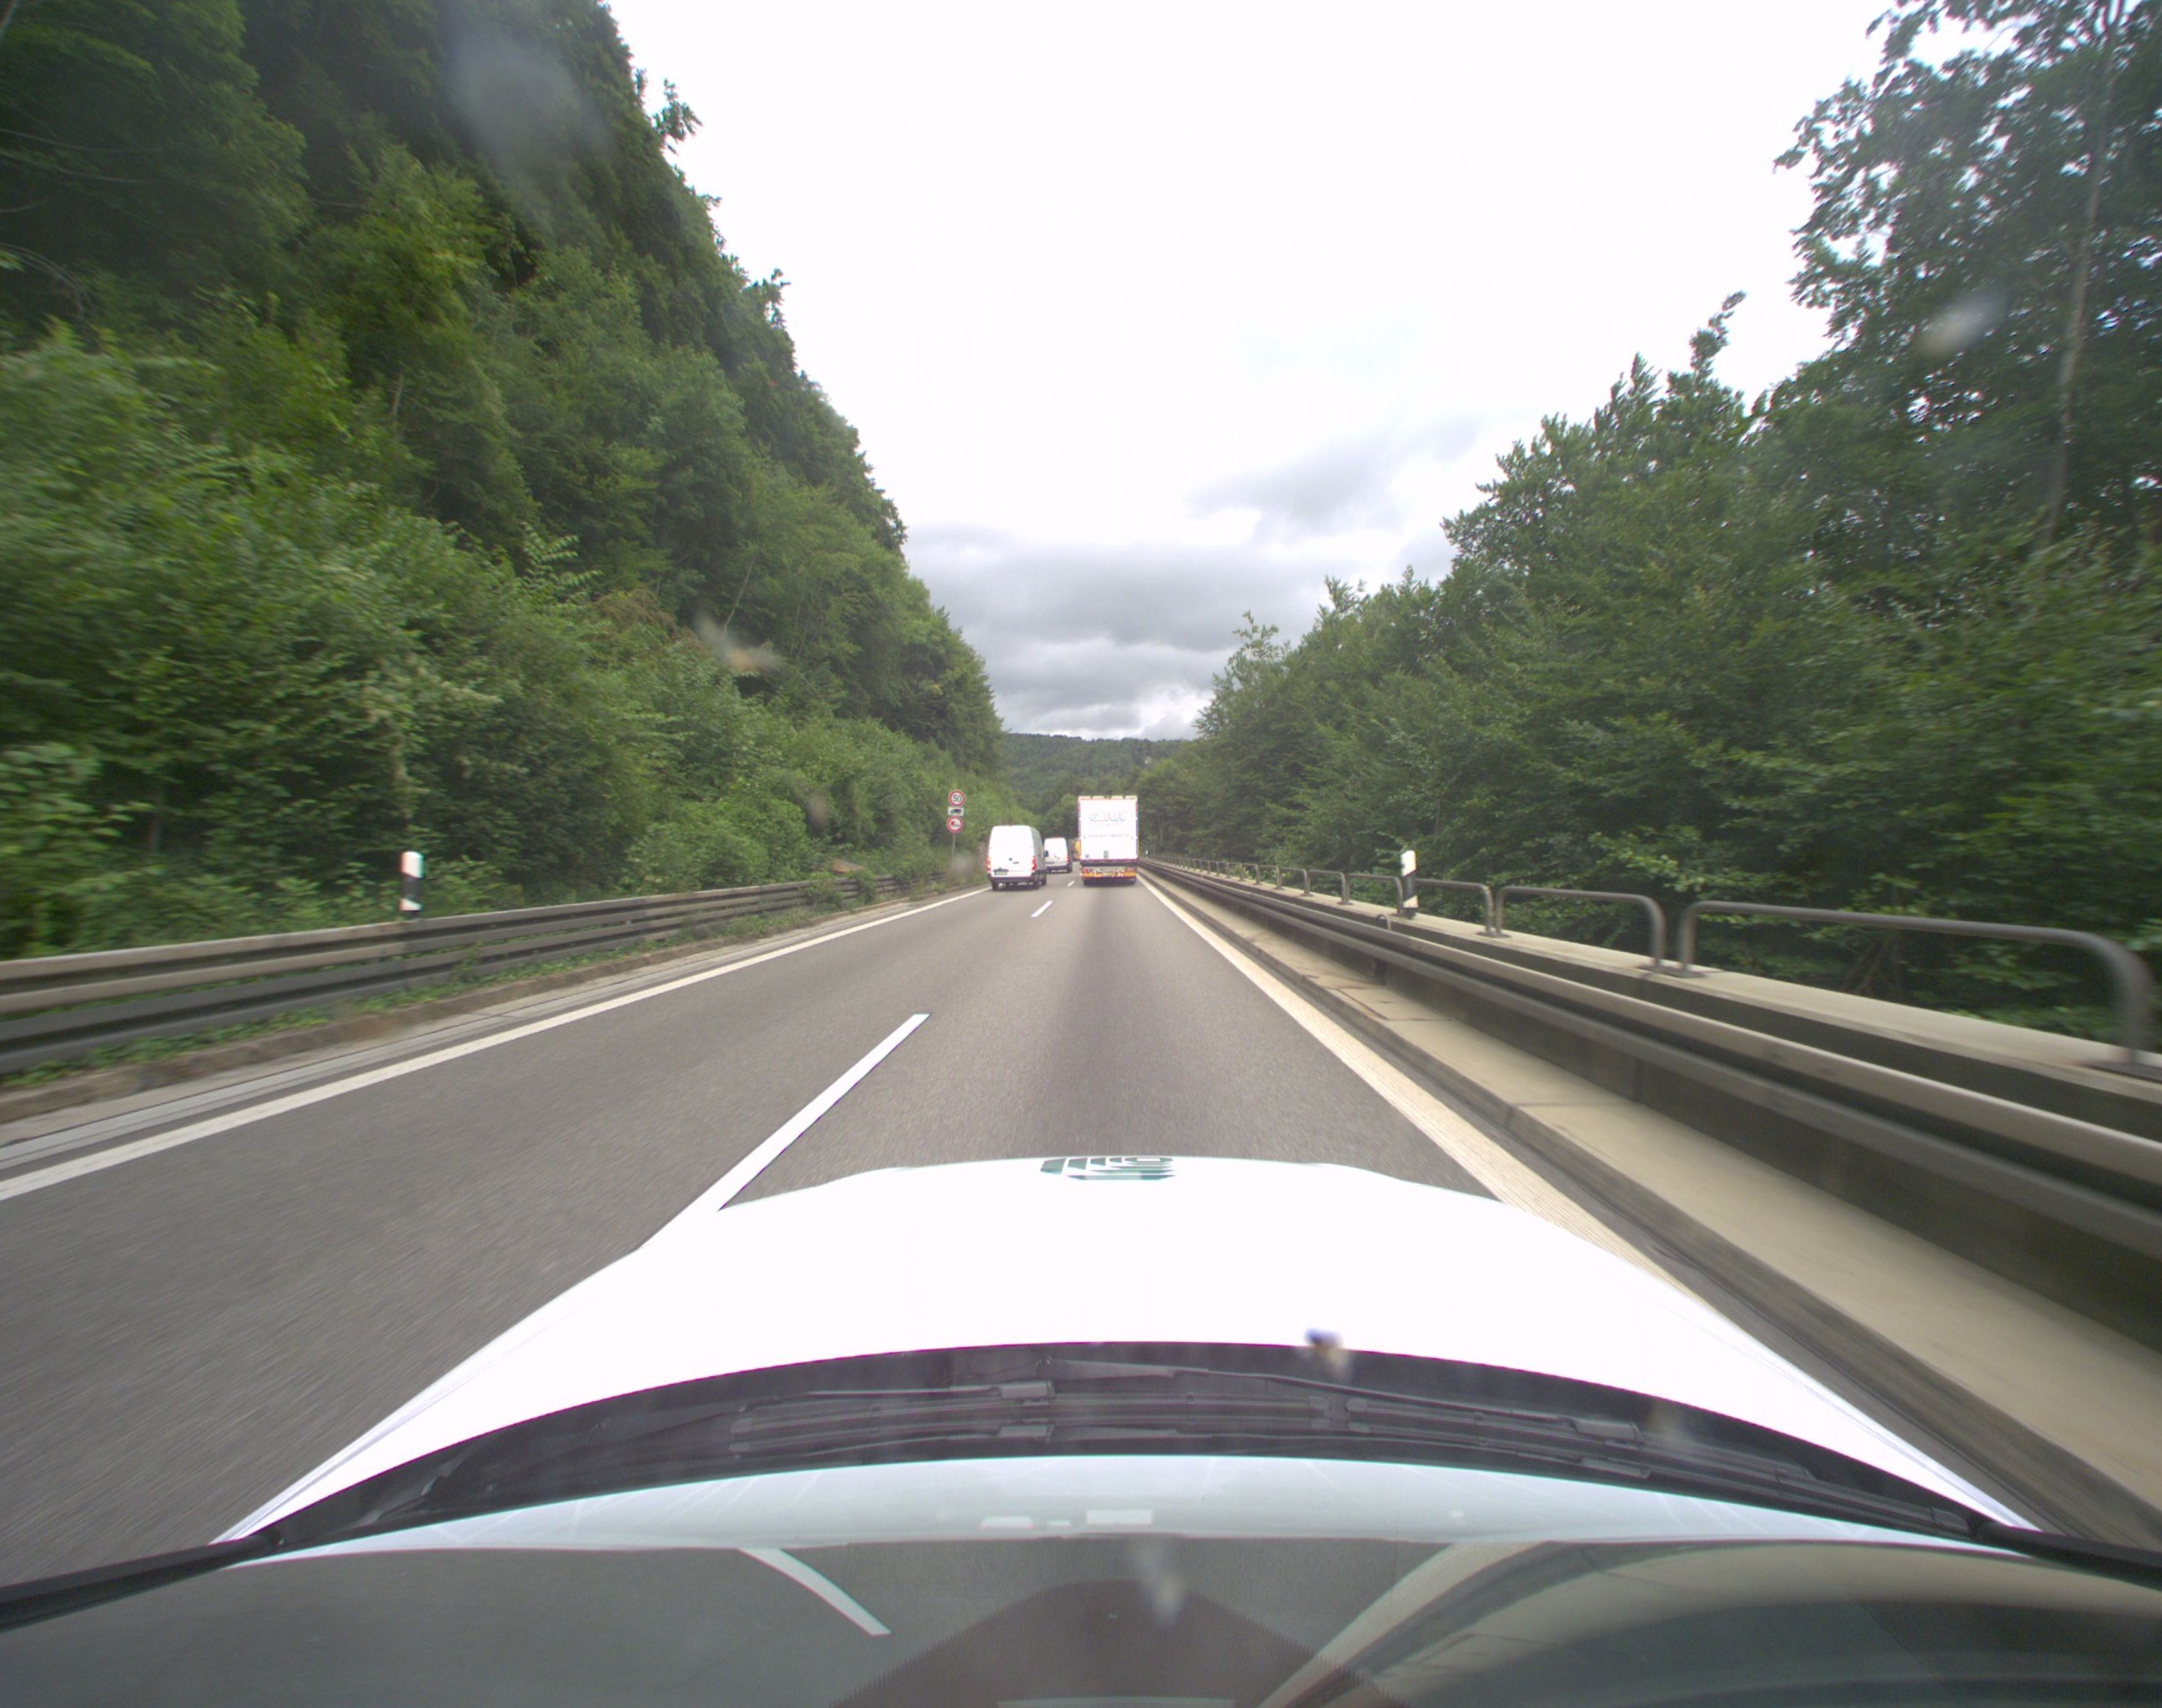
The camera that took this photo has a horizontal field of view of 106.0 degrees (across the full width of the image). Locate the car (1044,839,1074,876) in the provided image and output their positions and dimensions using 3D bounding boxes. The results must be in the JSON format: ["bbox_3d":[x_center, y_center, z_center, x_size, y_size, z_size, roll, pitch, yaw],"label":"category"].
[{"bbox_3d":[-1.624,0.261,63.073,1.932,2.672,5.994,-1,0,2],"label":"car"}]

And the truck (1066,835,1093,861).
[{"bbox_3d":[-0.349,-0.874,133.012,3.054,3.986,13.665,0,0,-7],"label":"truck"}]

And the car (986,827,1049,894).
[{"bbox_3d":[-2.662,0.250,35.976,1.981,2.672,6.939,-1,0,2],"label":"car"}]

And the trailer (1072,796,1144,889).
[{"bbox_3d":[1.309,-0.631,40.808,3.046,3.985,12.142,0,1,2],"label":"trailer"}]
